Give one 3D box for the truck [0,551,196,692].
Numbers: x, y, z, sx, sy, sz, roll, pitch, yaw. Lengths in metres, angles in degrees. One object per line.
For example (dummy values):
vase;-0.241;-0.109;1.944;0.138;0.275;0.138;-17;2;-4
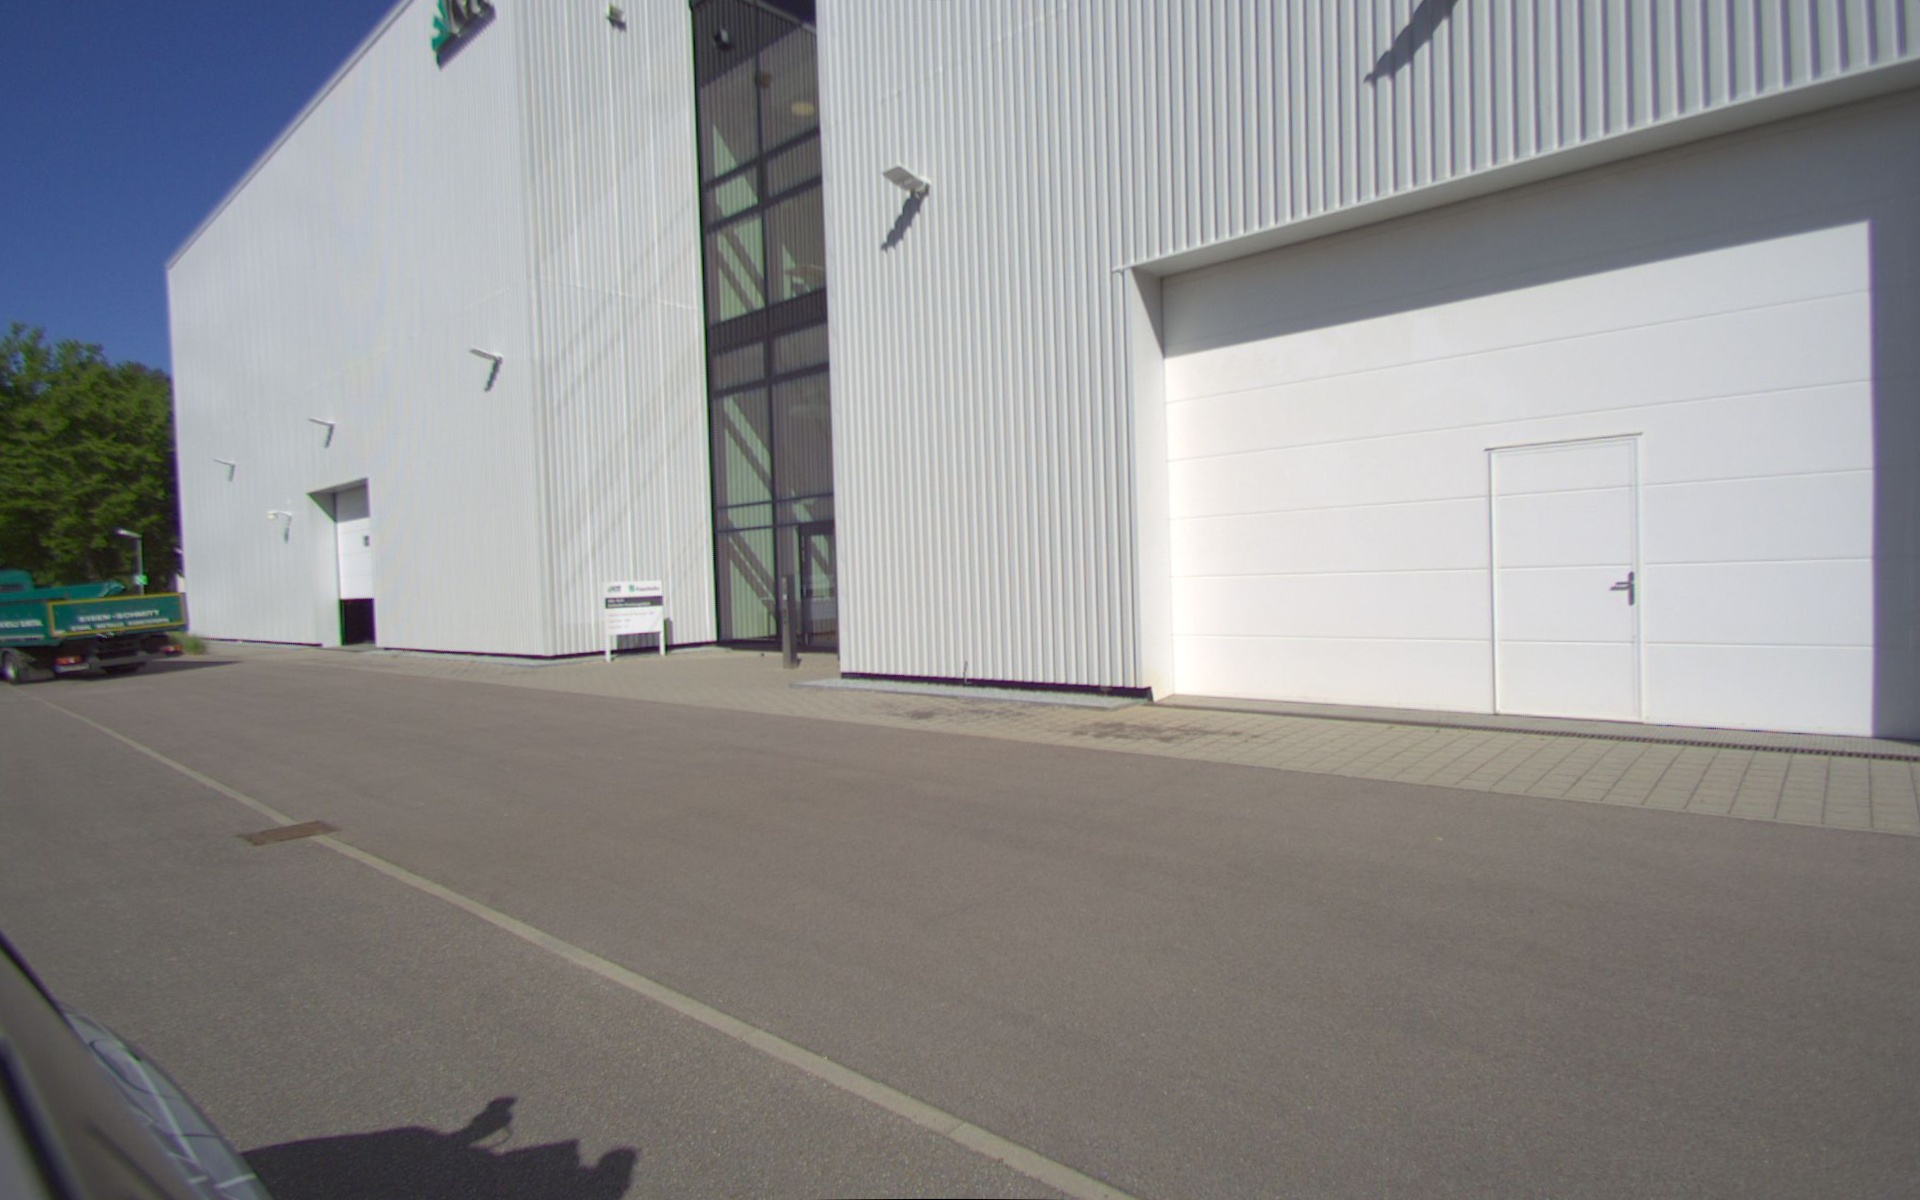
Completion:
truck;-21.852;0.520;23.718;9.655;2.736;2.564;-2;3;30
